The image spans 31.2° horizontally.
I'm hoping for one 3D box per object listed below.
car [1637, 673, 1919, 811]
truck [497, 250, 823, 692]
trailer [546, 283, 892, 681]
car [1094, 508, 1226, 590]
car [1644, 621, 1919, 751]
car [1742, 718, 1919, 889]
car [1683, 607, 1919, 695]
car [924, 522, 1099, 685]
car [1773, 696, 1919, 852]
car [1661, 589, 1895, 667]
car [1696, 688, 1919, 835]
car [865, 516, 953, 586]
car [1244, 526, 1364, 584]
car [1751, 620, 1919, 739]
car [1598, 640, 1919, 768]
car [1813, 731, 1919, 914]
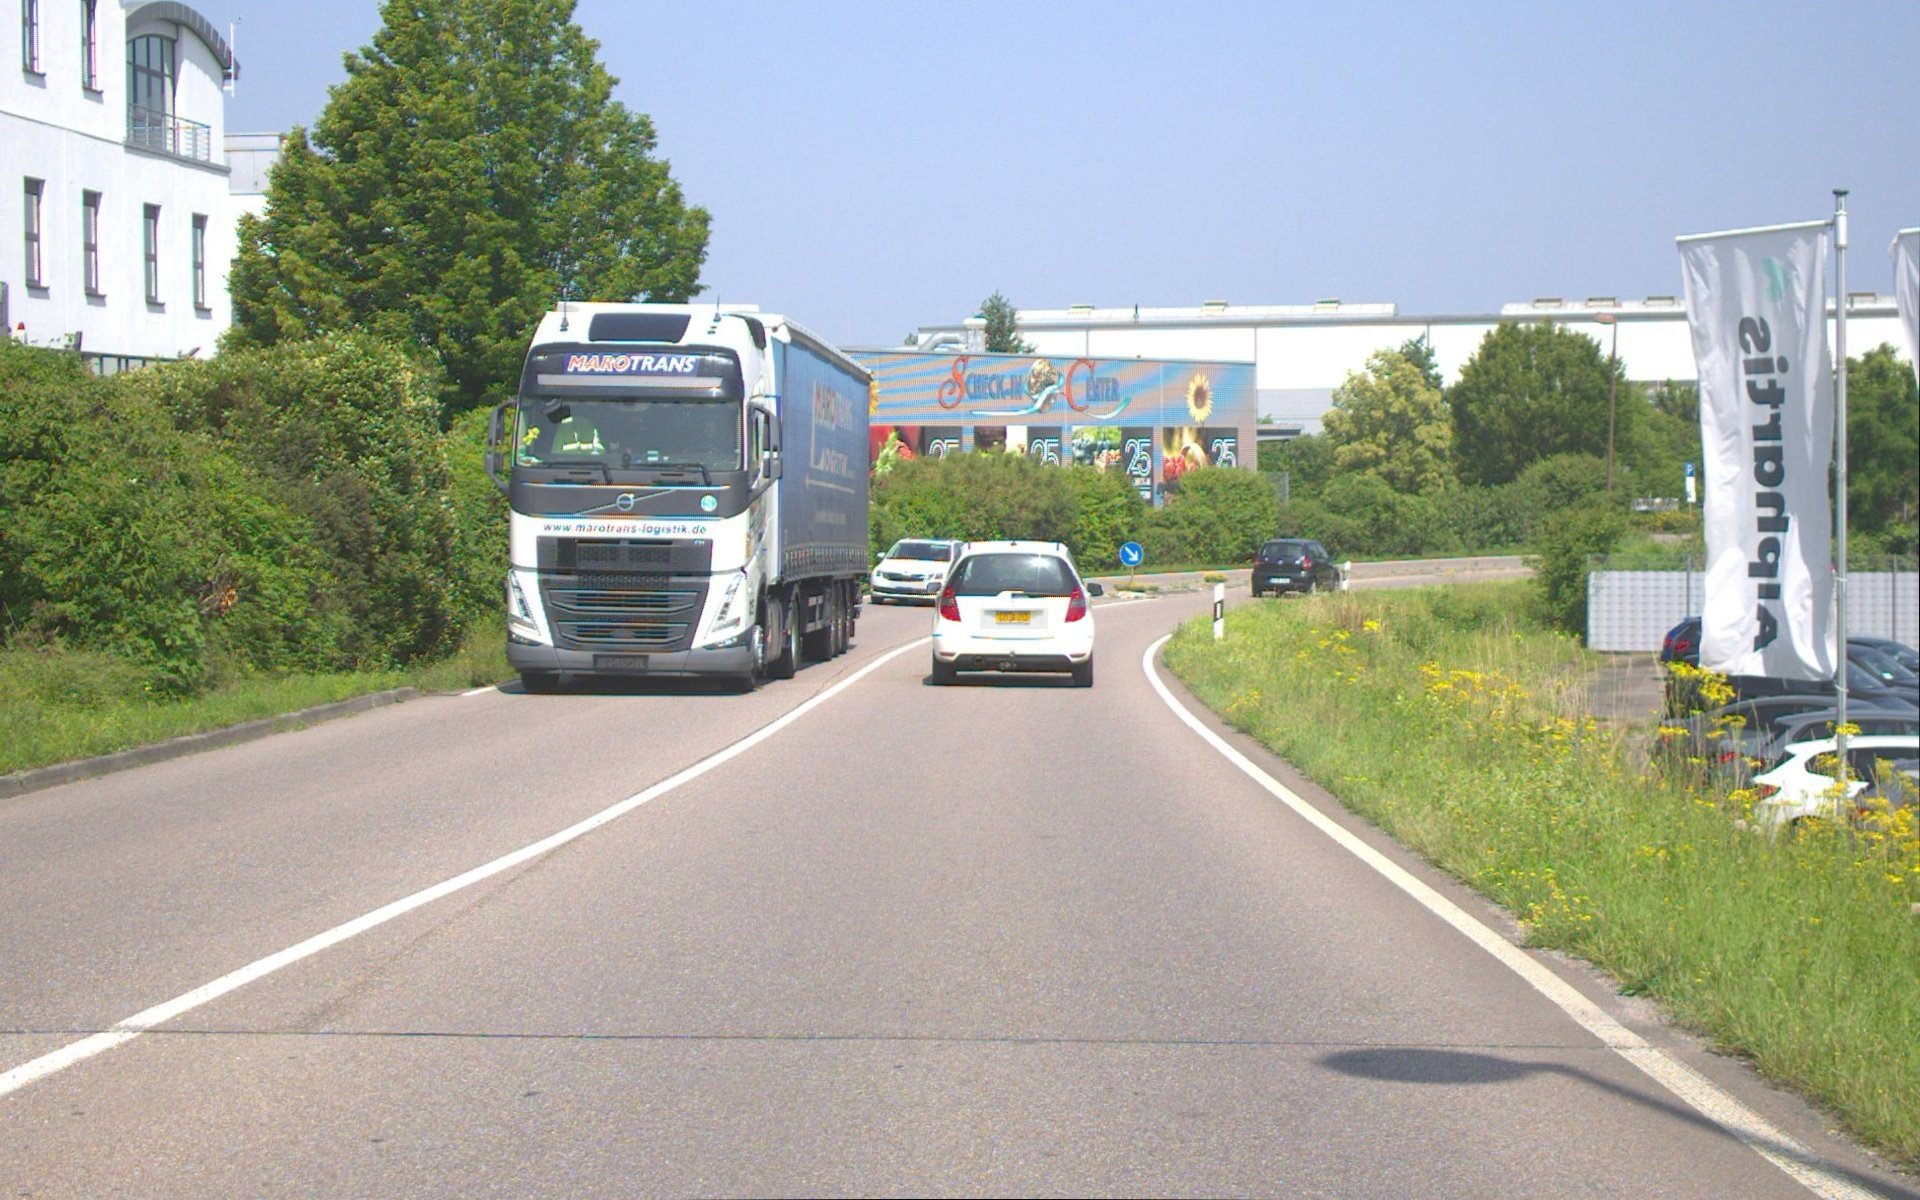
[{"bbox_3d":[10.859,1.766,43.369,4.165,1.518,1.853,1,1,30],"label":"car"},{"bbox_3d":[-3.035,-1.309,36.457,2.513,4.243,6.112,-1,1,3],"label":"truck"},{"bbox_3d":[-2.731,-1.418,44.075,2.670,4.226,14.565,1,1,3],"label":"trailer"},{"bbox_3d":[5.088,-1.310,87.057,1.996,2.007,3.995,1,1,25],"label":"car"},{"bbox_3d":[12.894,1.267,51.994,4.638,1.695,1.853,1,4,35],"label":"car"},{"bbox_3d":[10.007,2.030,33.814,4.165,1.518,1.748,1,1,30],"label":"car"},{"bbox_3d":[17.107,1.001,69.267,4.636,1.599,1.853,1,2,30],"label":"car"},{"bbox_3d":[0.569,-0.007,38.462,1.781,1.597,3.893,3,2,1],"label":"car"},{"bbox_3d":[11.006,1.883,36.726,4.165,1.518,1.853,1,1,29],"label":"car"},{"bbox_3d":[17.956,0.585,75.520,4.637,1.493,1.853,1,4,33],"label":"car"},{"bbox_3d":[10.877,1.875,39.951,4.165,1.518,1.853,1,1,30],"label":"car"},{"bbox_3d":[-1.078,-1.085,75.175,1.829,1.465,4.410,0,1,0],"label":"car"},{"bbox_3d":[8.997,-1.179,89.711,1.831,1.465,4.404,1,1,24],"label":"car"},{"bbox_3d":[15.101,1.279,55.311,4.231,1.695,1.915,2,4,38],"label":"car"},{"bbox_3d":[11.183,1.375,46.551,4.637,1.518,1.853,1,1,33],"label":"car"},{"bbox_3d":[9.920,2.045,30.618,4.167,1.518,1.687,1,1,35],"label":"car"}]
